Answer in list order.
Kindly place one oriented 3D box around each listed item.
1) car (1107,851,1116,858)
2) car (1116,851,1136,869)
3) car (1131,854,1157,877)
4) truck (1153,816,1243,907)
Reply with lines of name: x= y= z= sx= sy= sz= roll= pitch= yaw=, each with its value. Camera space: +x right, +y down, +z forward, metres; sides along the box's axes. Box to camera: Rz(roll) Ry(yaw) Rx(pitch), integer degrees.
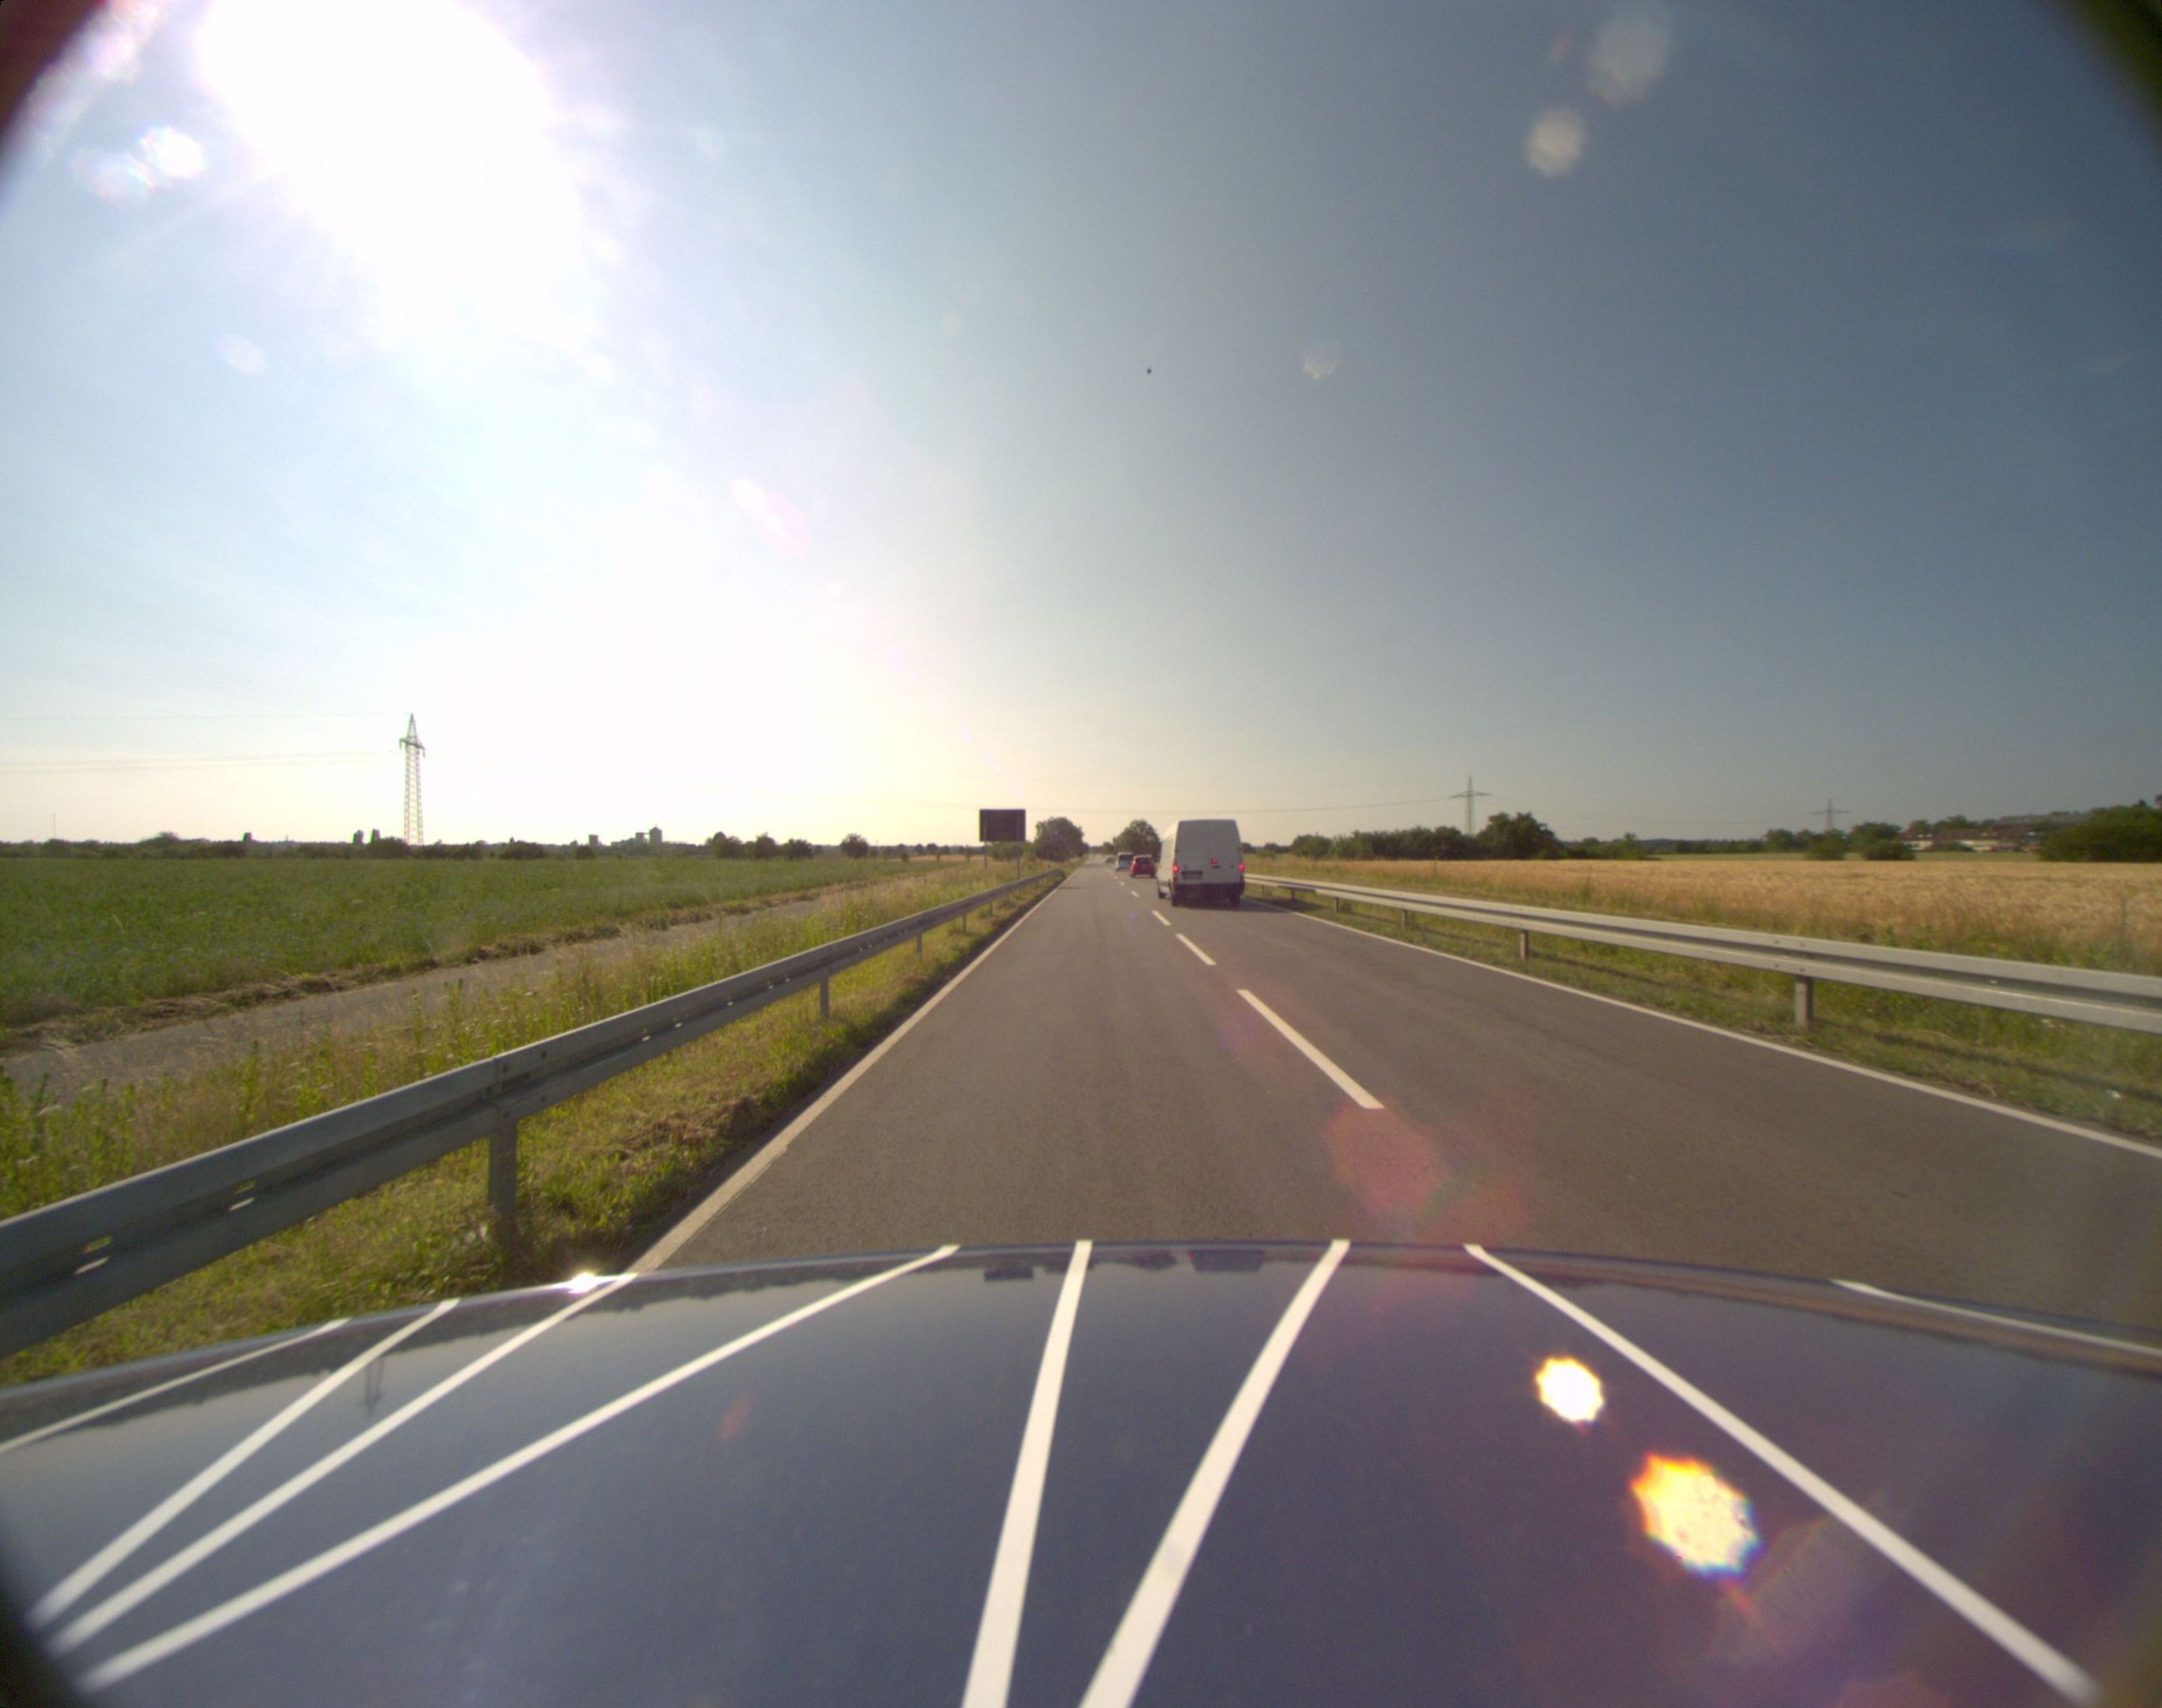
car: x=6.418 y=0.065 z=157.935 sx=1.731 sy=1.429 sz=4.516 roll=-1 pitch=1 yaw=1
car: x=4.556 y=0.590 z=77.020 sx=1.841 sy=1.776 sz=4.435 roll=-1 pitch=0 yaw=2
car: x=4.396 y=0.774 z=53.316 sx=1.610 sy=1.479 sz=3.780 roll=-1 pitch=0 yaw=1
truck: x=3.542 y=0.197 z=24.168 sx=1.998 sy=2.505 sz=6.243 roll=-1 pitch=0 yaw=1
